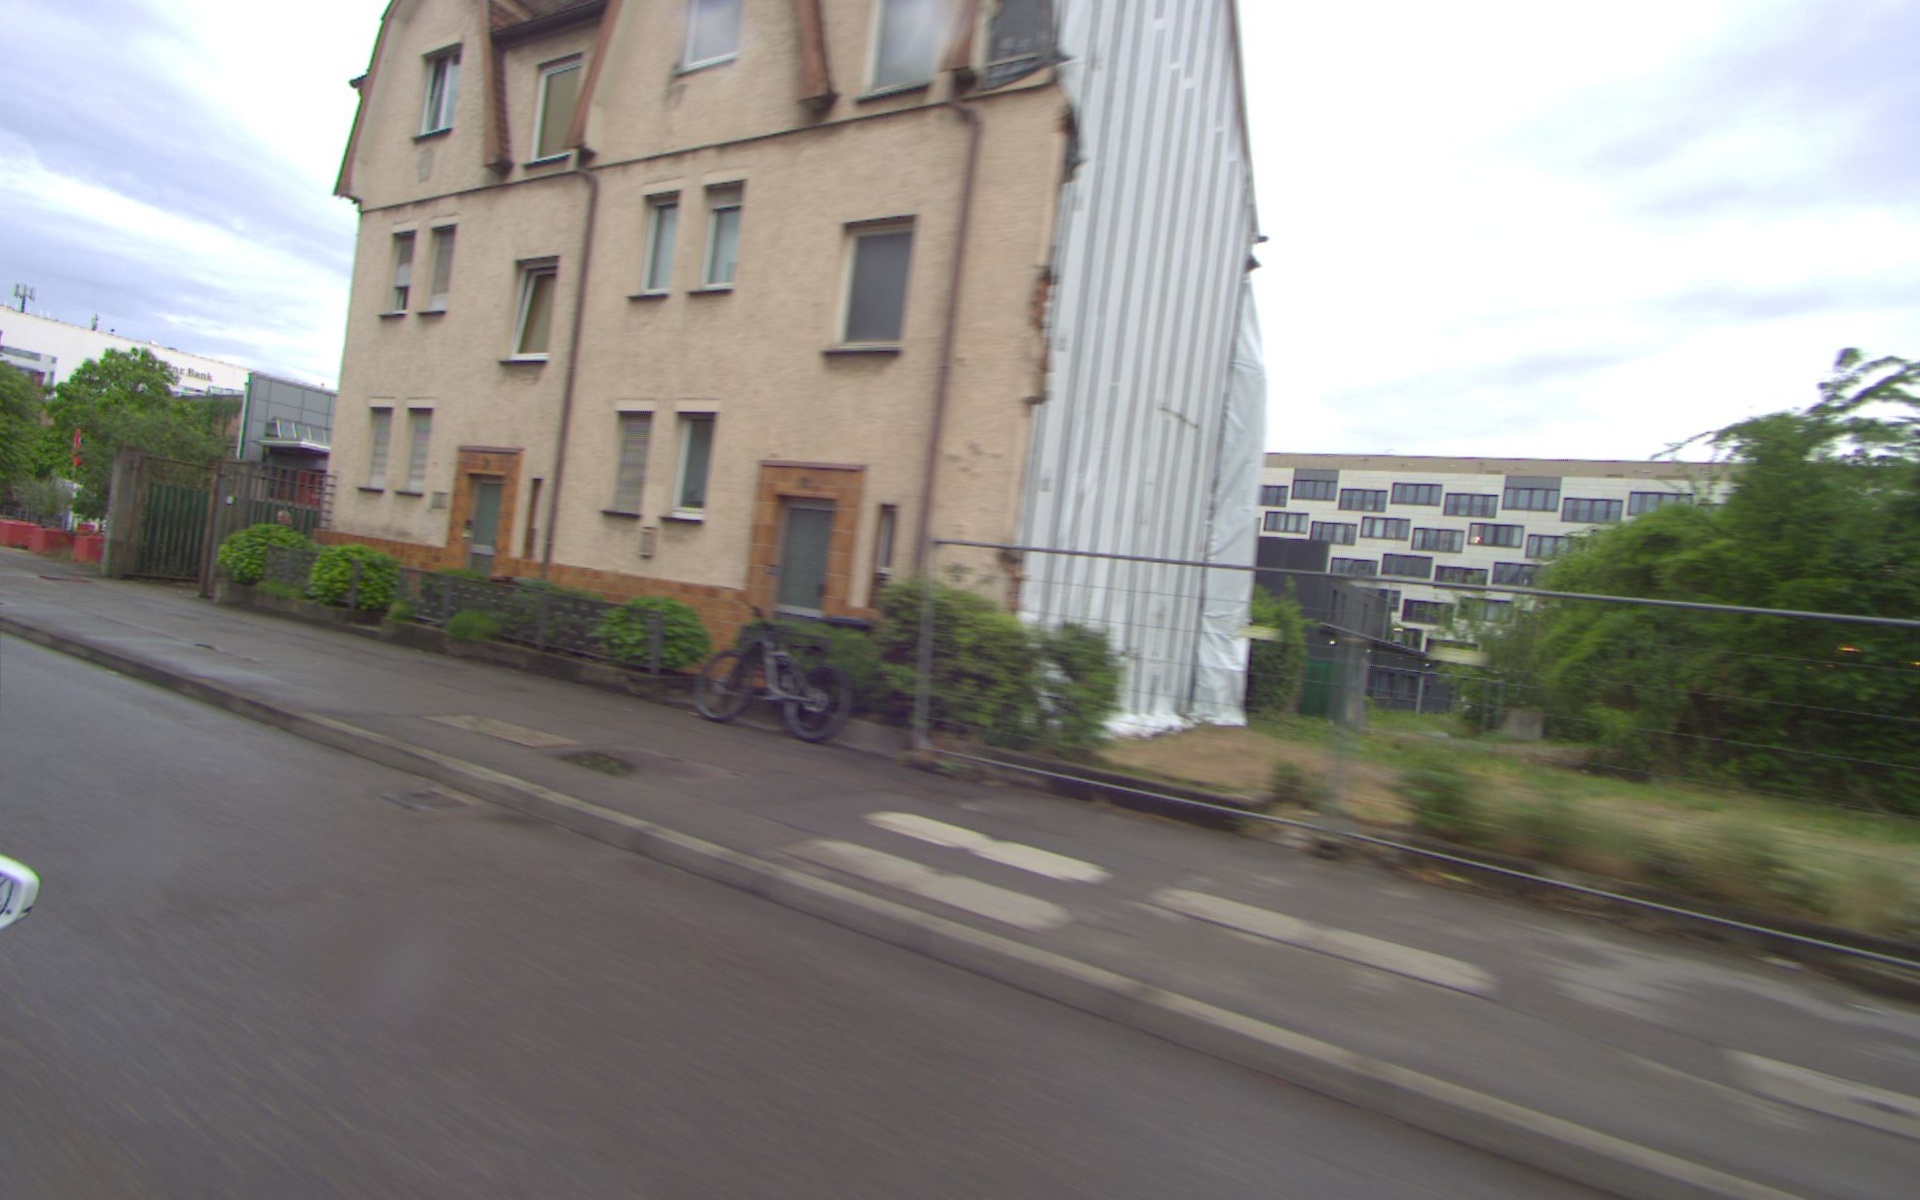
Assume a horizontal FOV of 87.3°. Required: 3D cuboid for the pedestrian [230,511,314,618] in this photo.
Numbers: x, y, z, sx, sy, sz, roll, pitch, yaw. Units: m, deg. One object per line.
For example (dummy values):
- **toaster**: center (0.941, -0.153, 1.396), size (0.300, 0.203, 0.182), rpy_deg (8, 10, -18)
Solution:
- **pedestrian**: center (-12.413, -0.640, 18.151), size (0.757, 1.783, 0.910), rpy_deg (6, -3, 43)
